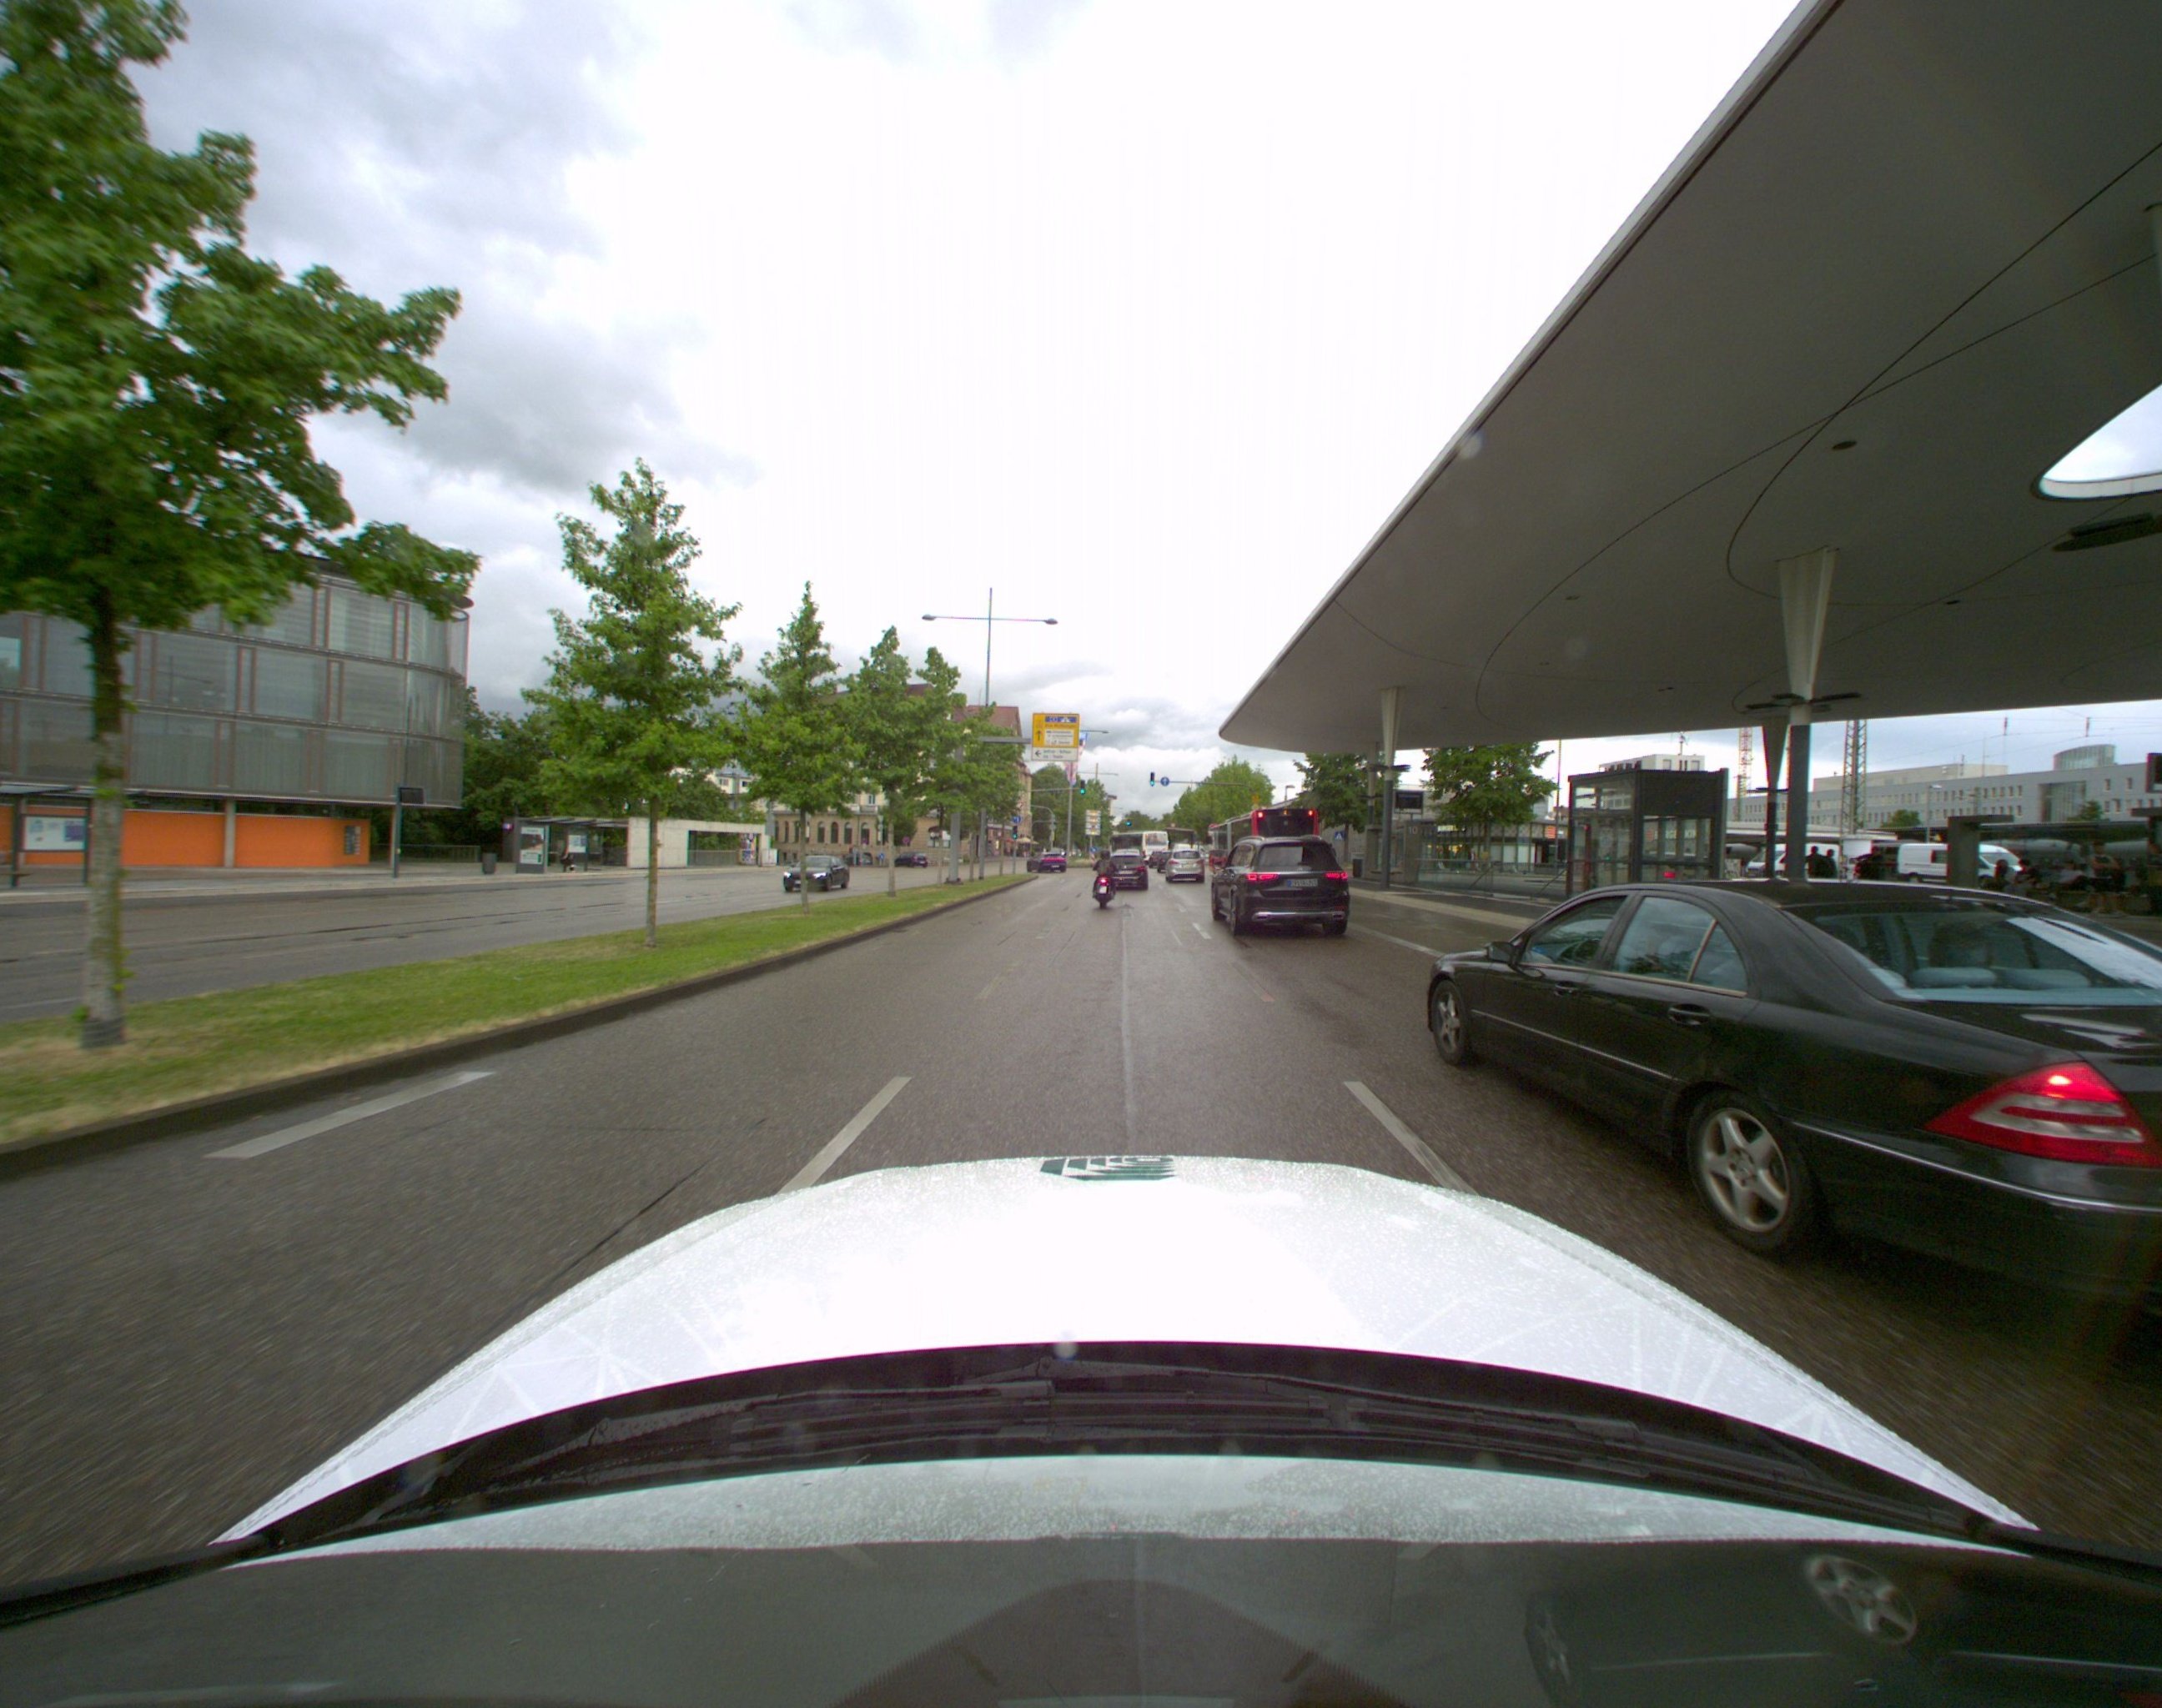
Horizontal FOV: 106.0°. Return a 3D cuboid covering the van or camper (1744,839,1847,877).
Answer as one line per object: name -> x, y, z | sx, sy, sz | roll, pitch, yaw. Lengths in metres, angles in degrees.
van or camper -> 44.938, 0.240, 51.286 | 4.672, 2.269, 2.109 | 1, 0, -2

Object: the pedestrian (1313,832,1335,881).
pedestrian -> 10.386, 0.118, 34.835 | 0.772, 2.013, 0.785 | 4, 0, 15

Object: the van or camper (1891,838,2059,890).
van or camper -> 47.322, 0.513, 43.391 | 2.086, 2.508, 6.214 | 1, 0, -1

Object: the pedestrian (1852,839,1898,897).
pedestrian -> 24.705, 0.428, 25.360 | 0.704, 1.707, 0.770 | -3, 2, 15

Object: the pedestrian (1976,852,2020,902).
pedestrian -> 25.562, 0.634, 22.714 | 0.558, 1.361, 0.613 | 1, -1, -1

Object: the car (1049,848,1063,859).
car -> -3.776, -0.091, 122.501 | 1.772, 1.567, 3.432 | -1, 0, 3

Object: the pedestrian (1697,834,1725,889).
pedestrian -> 23.843, 0.273, 30.829 | 0.717, 2.014, 0.674 | 3, -4, 29

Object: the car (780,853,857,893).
car -> -10.958, 0.751, 34.331 | 1.674, 1.528, 4.639 | 0, 0, 1

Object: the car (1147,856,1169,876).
car -> 6.141, 0.938, 65.272 | 1.569, 1.567, 3.799 | -1, 0, 3

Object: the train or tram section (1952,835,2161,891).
train or tram section -> 74.242, 0.575, 62.217 | 3.119, 3.659, 11.623 | 4, 0, 2

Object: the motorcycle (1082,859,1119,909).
motorcycle -> 0.543, 0.773, 21.883 | 0.789, 1.262, 1.858 | -1, 0, 6

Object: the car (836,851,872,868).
car -> -23.946, 0.590, 85.781 | 2.130, 1.776, 4.341 | 0, 0, -39

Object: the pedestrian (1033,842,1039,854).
pedestrian -> -7.141, -0.935, 129.973 | 0.727, 1.965, 0.820 | 0, 0, -24

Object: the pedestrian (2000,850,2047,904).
pedestrian -> 25.522, 0.620, 22.061 | 0.558, 1.444, 0.613 | 1, -1, -1

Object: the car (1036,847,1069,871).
car -> -1.898, 0.331, 56.288 | 1.808, 1.570, 4.408 | -1, 0, 4

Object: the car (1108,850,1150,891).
car -> 1.930, 0.622, 32.445 | 1.569, 1.504, 3.875 | -1, 0, 4

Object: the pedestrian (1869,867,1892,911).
pedestrian -> 25.899, 1.140, 26.383 | 0.469, 1.391, 0.564 | 2, -4, 38

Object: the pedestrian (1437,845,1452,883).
pedestrian -> 16.379, 0.458, 36.721 | 0.569, 1.678, 0.586 | 0, -1, 29

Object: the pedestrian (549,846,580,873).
pedestrian -> -25.933, 0.259, 40.909 | 0.967, 1.267, 0.854 | 5, 1, 23

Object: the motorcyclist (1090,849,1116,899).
motorcyclist -> 0.604, 0.531, 22.056 | 0.638, 1.347, 0.690 | 0, 0, 6

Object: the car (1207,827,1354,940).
car -> 3.749, 0.486, 16.223 | 1.949, 1.876, 4.877 | -1, 0, 3

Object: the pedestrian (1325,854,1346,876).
pedestrian -> 12.091, 0.525, 38.653 | 0.906, 0.985, 0.636 | 2, -4, 16

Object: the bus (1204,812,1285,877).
bus -> 8.930, -0.492, 45.543 | 3.277, 3.289, 8.858 | 0, 0, 4

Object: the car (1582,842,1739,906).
car -> 16.821, 0.540, 23.929 | 1.705, 1.662, 4.242 | 2, 0, 2

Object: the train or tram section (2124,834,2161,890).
train or tram section -> 73.745, 0.637, 50.585 | 3.119, 3.681, 11.623 | 4, 0, 2

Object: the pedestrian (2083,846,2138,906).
pedestrian -> 25.473, 0.534, 20.155 | 0.558, 1.444, 0.635 | 1, -1, -1

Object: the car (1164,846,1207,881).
car -> 4.954, 0.424, 38.955 | 1.734, 1.567, 3.874 | -1, 0, 3

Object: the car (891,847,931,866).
car -> -15.529, 0.234, 74.410 | 1.853, 1.627, 3.660 | 1, -1, -44

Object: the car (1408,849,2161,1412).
car -> 3.361, 0.710, 4.268 | 1.691, 1.462, 4.305 | 0, 0, 2

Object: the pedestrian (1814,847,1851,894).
pedestrian -> 25.920, 0.564, 28.085 | 0.582, 1.578, 0.766 | 7, -4, -29

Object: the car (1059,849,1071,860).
car -> -2.549, 0.063, 128.387 | 1.569, 1.567, 3.432 | -1, 0, 3

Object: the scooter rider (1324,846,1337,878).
scooter rider -> 11.856, 0.369, 38.716 | 0.587, 1.490, 0.768 | 1, -1, 16

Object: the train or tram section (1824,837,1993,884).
train or tram section -> 74.767, 0.524, 74.207 | 3.119, 3.659, 12.331 | 4, 0, 2

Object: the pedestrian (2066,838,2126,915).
pedestrian -> 22.772, 0.500, 18.274 | 0.559, 1.692, 0.613 | 2, 0, -4

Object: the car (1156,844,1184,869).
car -> 5.804, 0.168, 53.581 | 1.569, 1.567, 3.874 | -1, 0, 3

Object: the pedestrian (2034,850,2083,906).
pedestrian -> 25.615, 0.632, 21.354 | 0.558, 1.444, 0.613 | 1, -1, -1

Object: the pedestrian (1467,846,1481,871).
pedestrian -> 26.425, 0.294, 54.728 | 0.601, 1.578, 0.674 | 4, -4, 9

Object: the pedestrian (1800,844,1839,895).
pedestrian -> 23.532, 0.487, 25.956 | 0.597, 1.582, 0.710 | 3, -2, -6

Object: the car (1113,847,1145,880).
car -> 2.484, 0.457, 42.427 | 1.569, 1.567, 3.874 | -1, 0, 3

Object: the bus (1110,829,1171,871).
bus -> 5.870, -0.346, 82.744 | 2.840, 3.988, 11.811 | 1, 0, -13

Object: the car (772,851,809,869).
car -> -31.179, 0.614, 87.401 | 3.950, 1.684, 1.882 | 2, -3, 42

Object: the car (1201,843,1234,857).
car -> 15.790, -0.431, 94.201 | 1.588, 1.567, 3.754 | -1, 0, -36

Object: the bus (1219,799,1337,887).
bus -> 8.288, -0.451, 35.970 | 3.272, 3.292, 10.889 | 0, 0, 4
